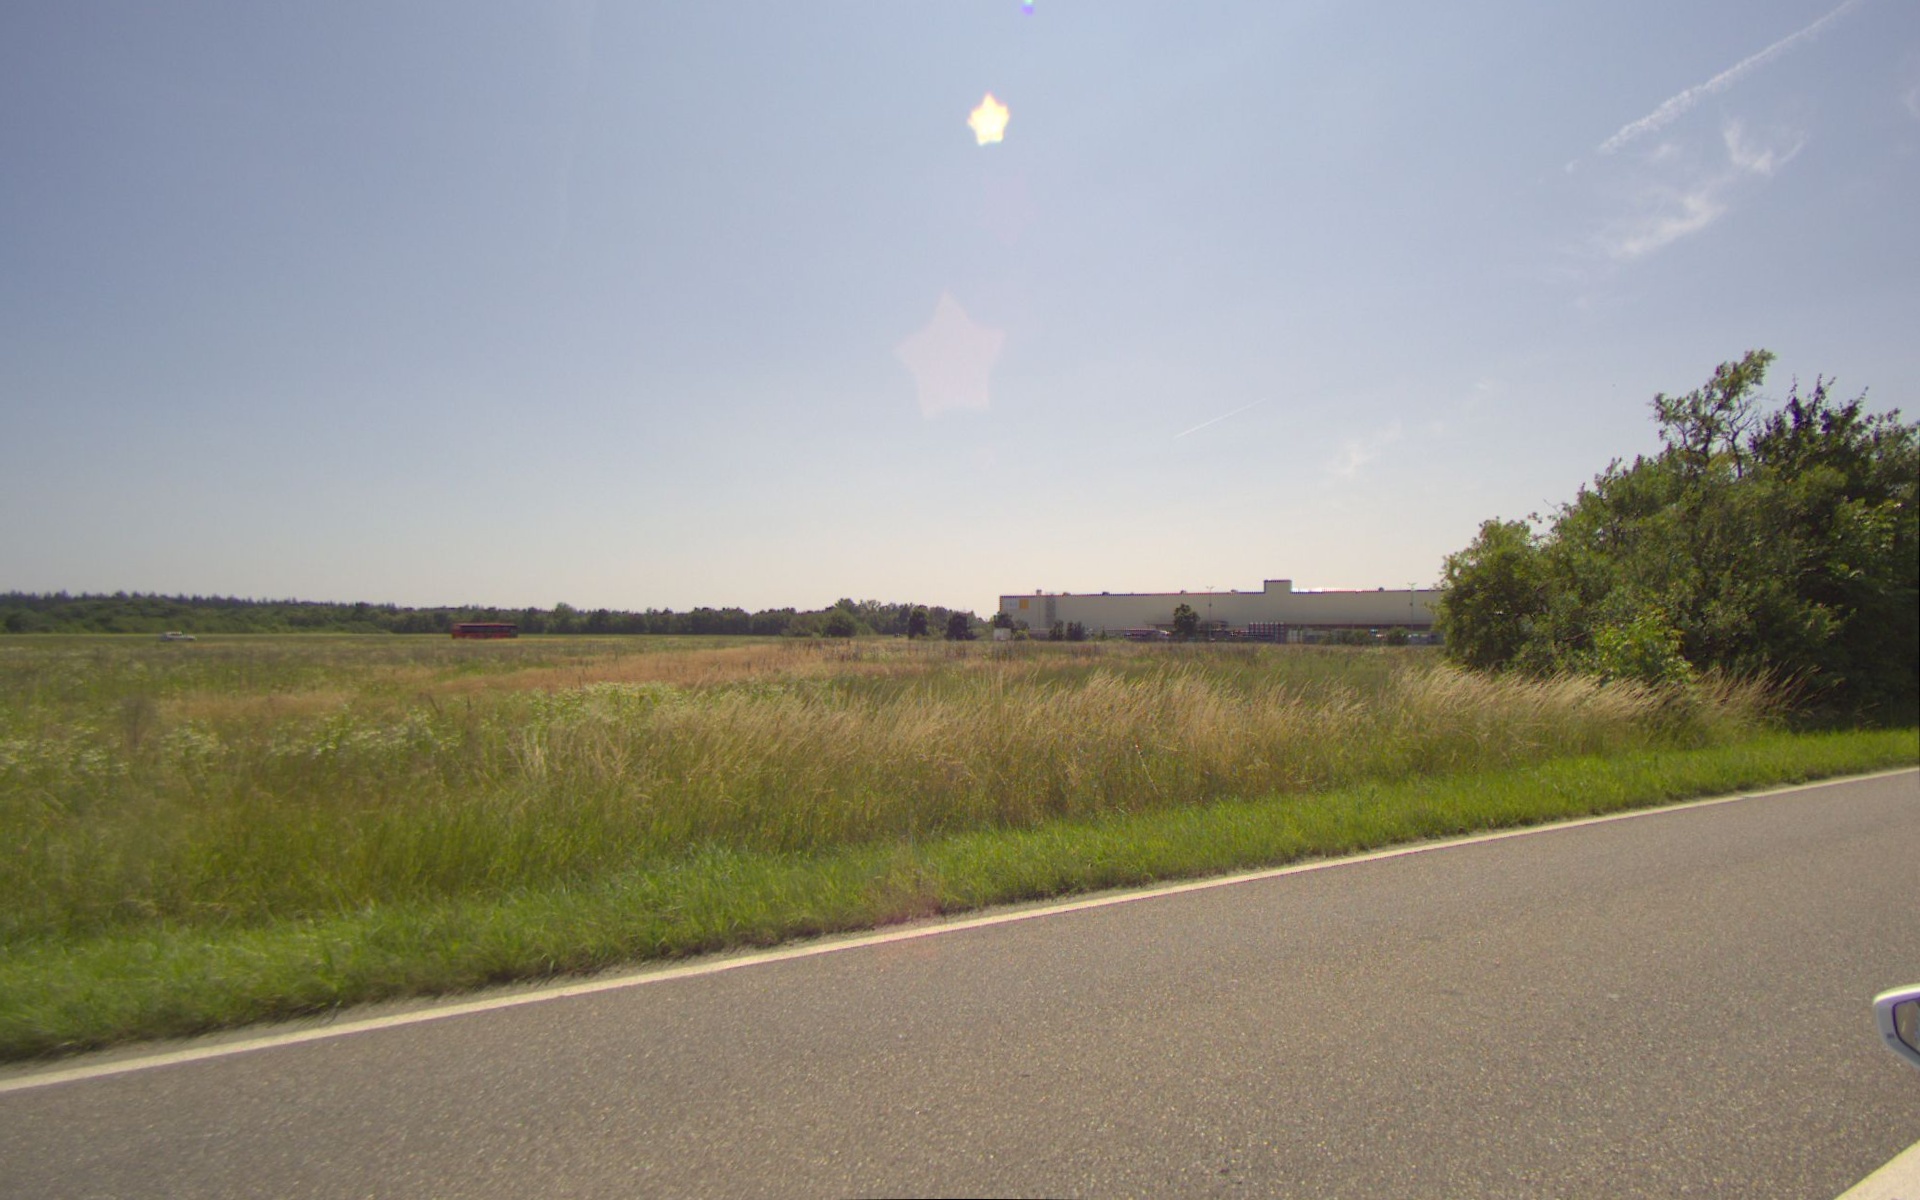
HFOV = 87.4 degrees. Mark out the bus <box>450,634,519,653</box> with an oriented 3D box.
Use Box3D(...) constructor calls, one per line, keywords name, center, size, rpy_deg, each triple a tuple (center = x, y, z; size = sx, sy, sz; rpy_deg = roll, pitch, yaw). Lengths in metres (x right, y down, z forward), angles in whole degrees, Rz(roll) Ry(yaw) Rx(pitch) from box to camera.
Box3D(name="bus", center=(-86.318, 7.902, 182.753), size=(3.252, 3.352, 11.978), rpy_deg=(-1, -2, 26))
